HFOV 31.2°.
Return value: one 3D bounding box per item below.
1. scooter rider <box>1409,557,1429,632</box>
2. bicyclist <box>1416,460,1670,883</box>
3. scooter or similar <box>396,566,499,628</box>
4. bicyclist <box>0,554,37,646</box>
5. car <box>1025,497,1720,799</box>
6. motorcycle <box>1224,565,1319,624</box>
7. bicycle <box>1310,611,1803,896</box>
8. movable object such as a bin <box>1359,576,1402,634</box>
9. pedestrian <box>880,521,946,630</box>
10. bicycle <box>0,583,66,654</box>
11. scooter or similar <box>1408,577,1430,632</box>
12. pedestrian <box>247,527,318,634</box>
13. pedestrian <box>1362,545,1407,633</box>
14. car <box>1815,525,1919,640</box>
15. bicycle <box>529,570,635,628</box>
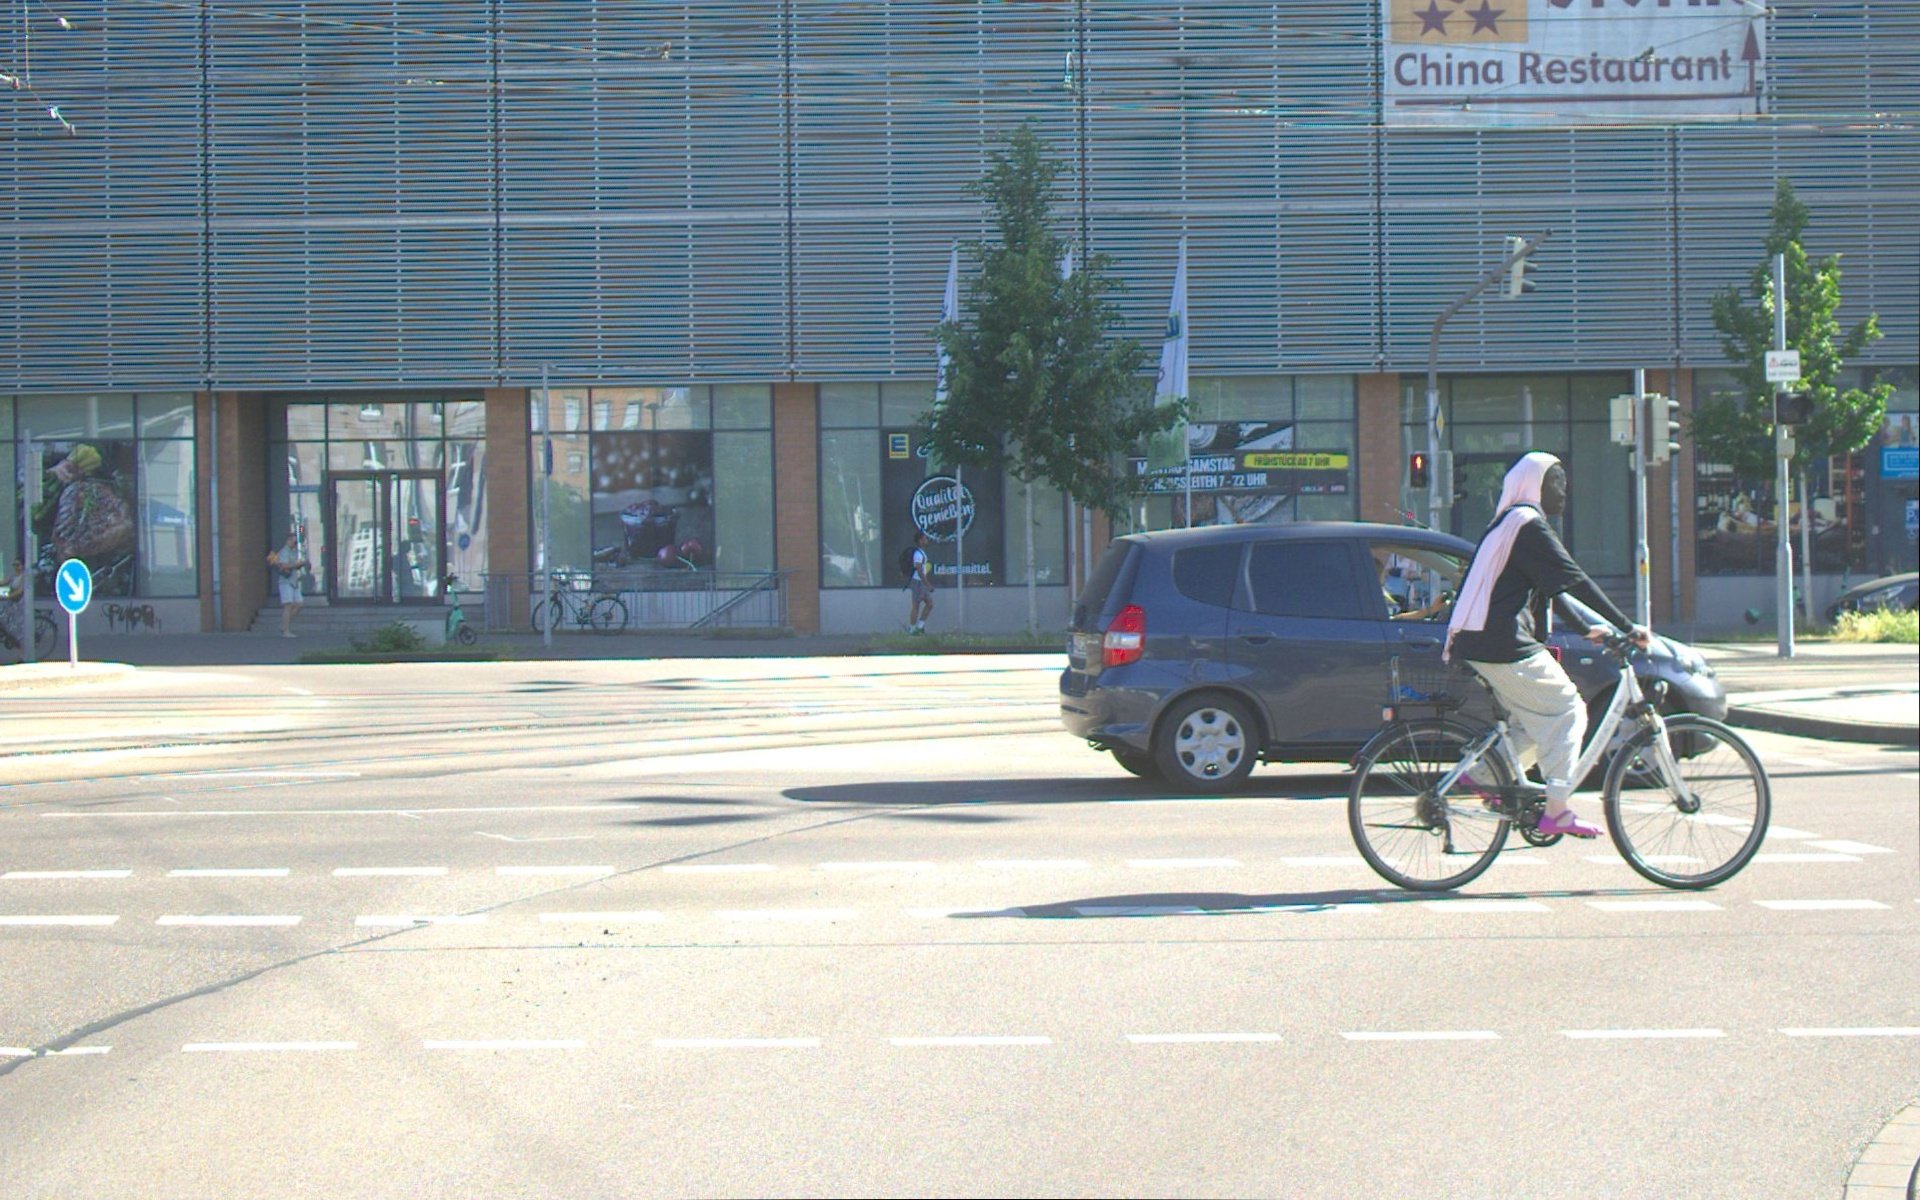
[{"bbox_3d":[7.343,-0.090,55.025,0.288,1.196,0.385,1,0,10],"label":"scooter rider"},{"bbox_3d":[2.391,0.287,14.150,0.882,1.701,0.574,1,0,-7],"label":"bicyclist"},{"bbox_3d":[-9.080,-0.052,60.921,1.792,1.062,0.613,0,2,-8],"label":"scooter or similar"},{"bbox_3d":[-15.281,-0.004,54.777,0.675,1.422,0.847,1,3,43],"label":"bicyclist"},{"bbox_3d":[2.315,0.240,19.802,3.689,1.640,1.647,0,1,-6],"label":"car"},{"bbox_3d":[5.493,-0.105,60.631,1.640,1.001,0.446,1,1,6],"label":"motorcycle"},{"bbox_3d":[2.444,0.626,14.169,1.900,1.133,0.581,1,0,-6],"label":"bicycle"},{"bbox_3d":[6.710,0.076,54.803,0.613,0.901,0.968,1,0,10],"label":"movable object such as a bin"},{"bbox_3d":[-0.811,-0.432,59.350,1.012,1.822,1.035,-2,1,3],"label":"pedestrian"},{"bbox_3d":[-15.247,0.305,54.857,0.568,1.082,1.859,1,3,43],"label":"bicycle"},{"bbox_3d":[7.349,0.072,55.087,0.295,0.870,1.003,1,0,10],"label":"scooter or similar"},{"bbox_3d":[-11.866,-0.352,60.242,0.950,1.822,0.846,-2,1,5],"label":"pedestrian"},{"bbox_3d":[6.829,-0.180,55.264,0.655,1.409,0.849,1,0,10],"label":"pedestrian"},{"bbox_3d":[13.752,-0.144,45.841,4.146,1.464,1.841,3,0,-1],"label":"car"},{"bbox_3d":[-6.651,-0.022,60.538,1.815,0.986,0.558,-1,2,-10],"label":"bicycle"}]
